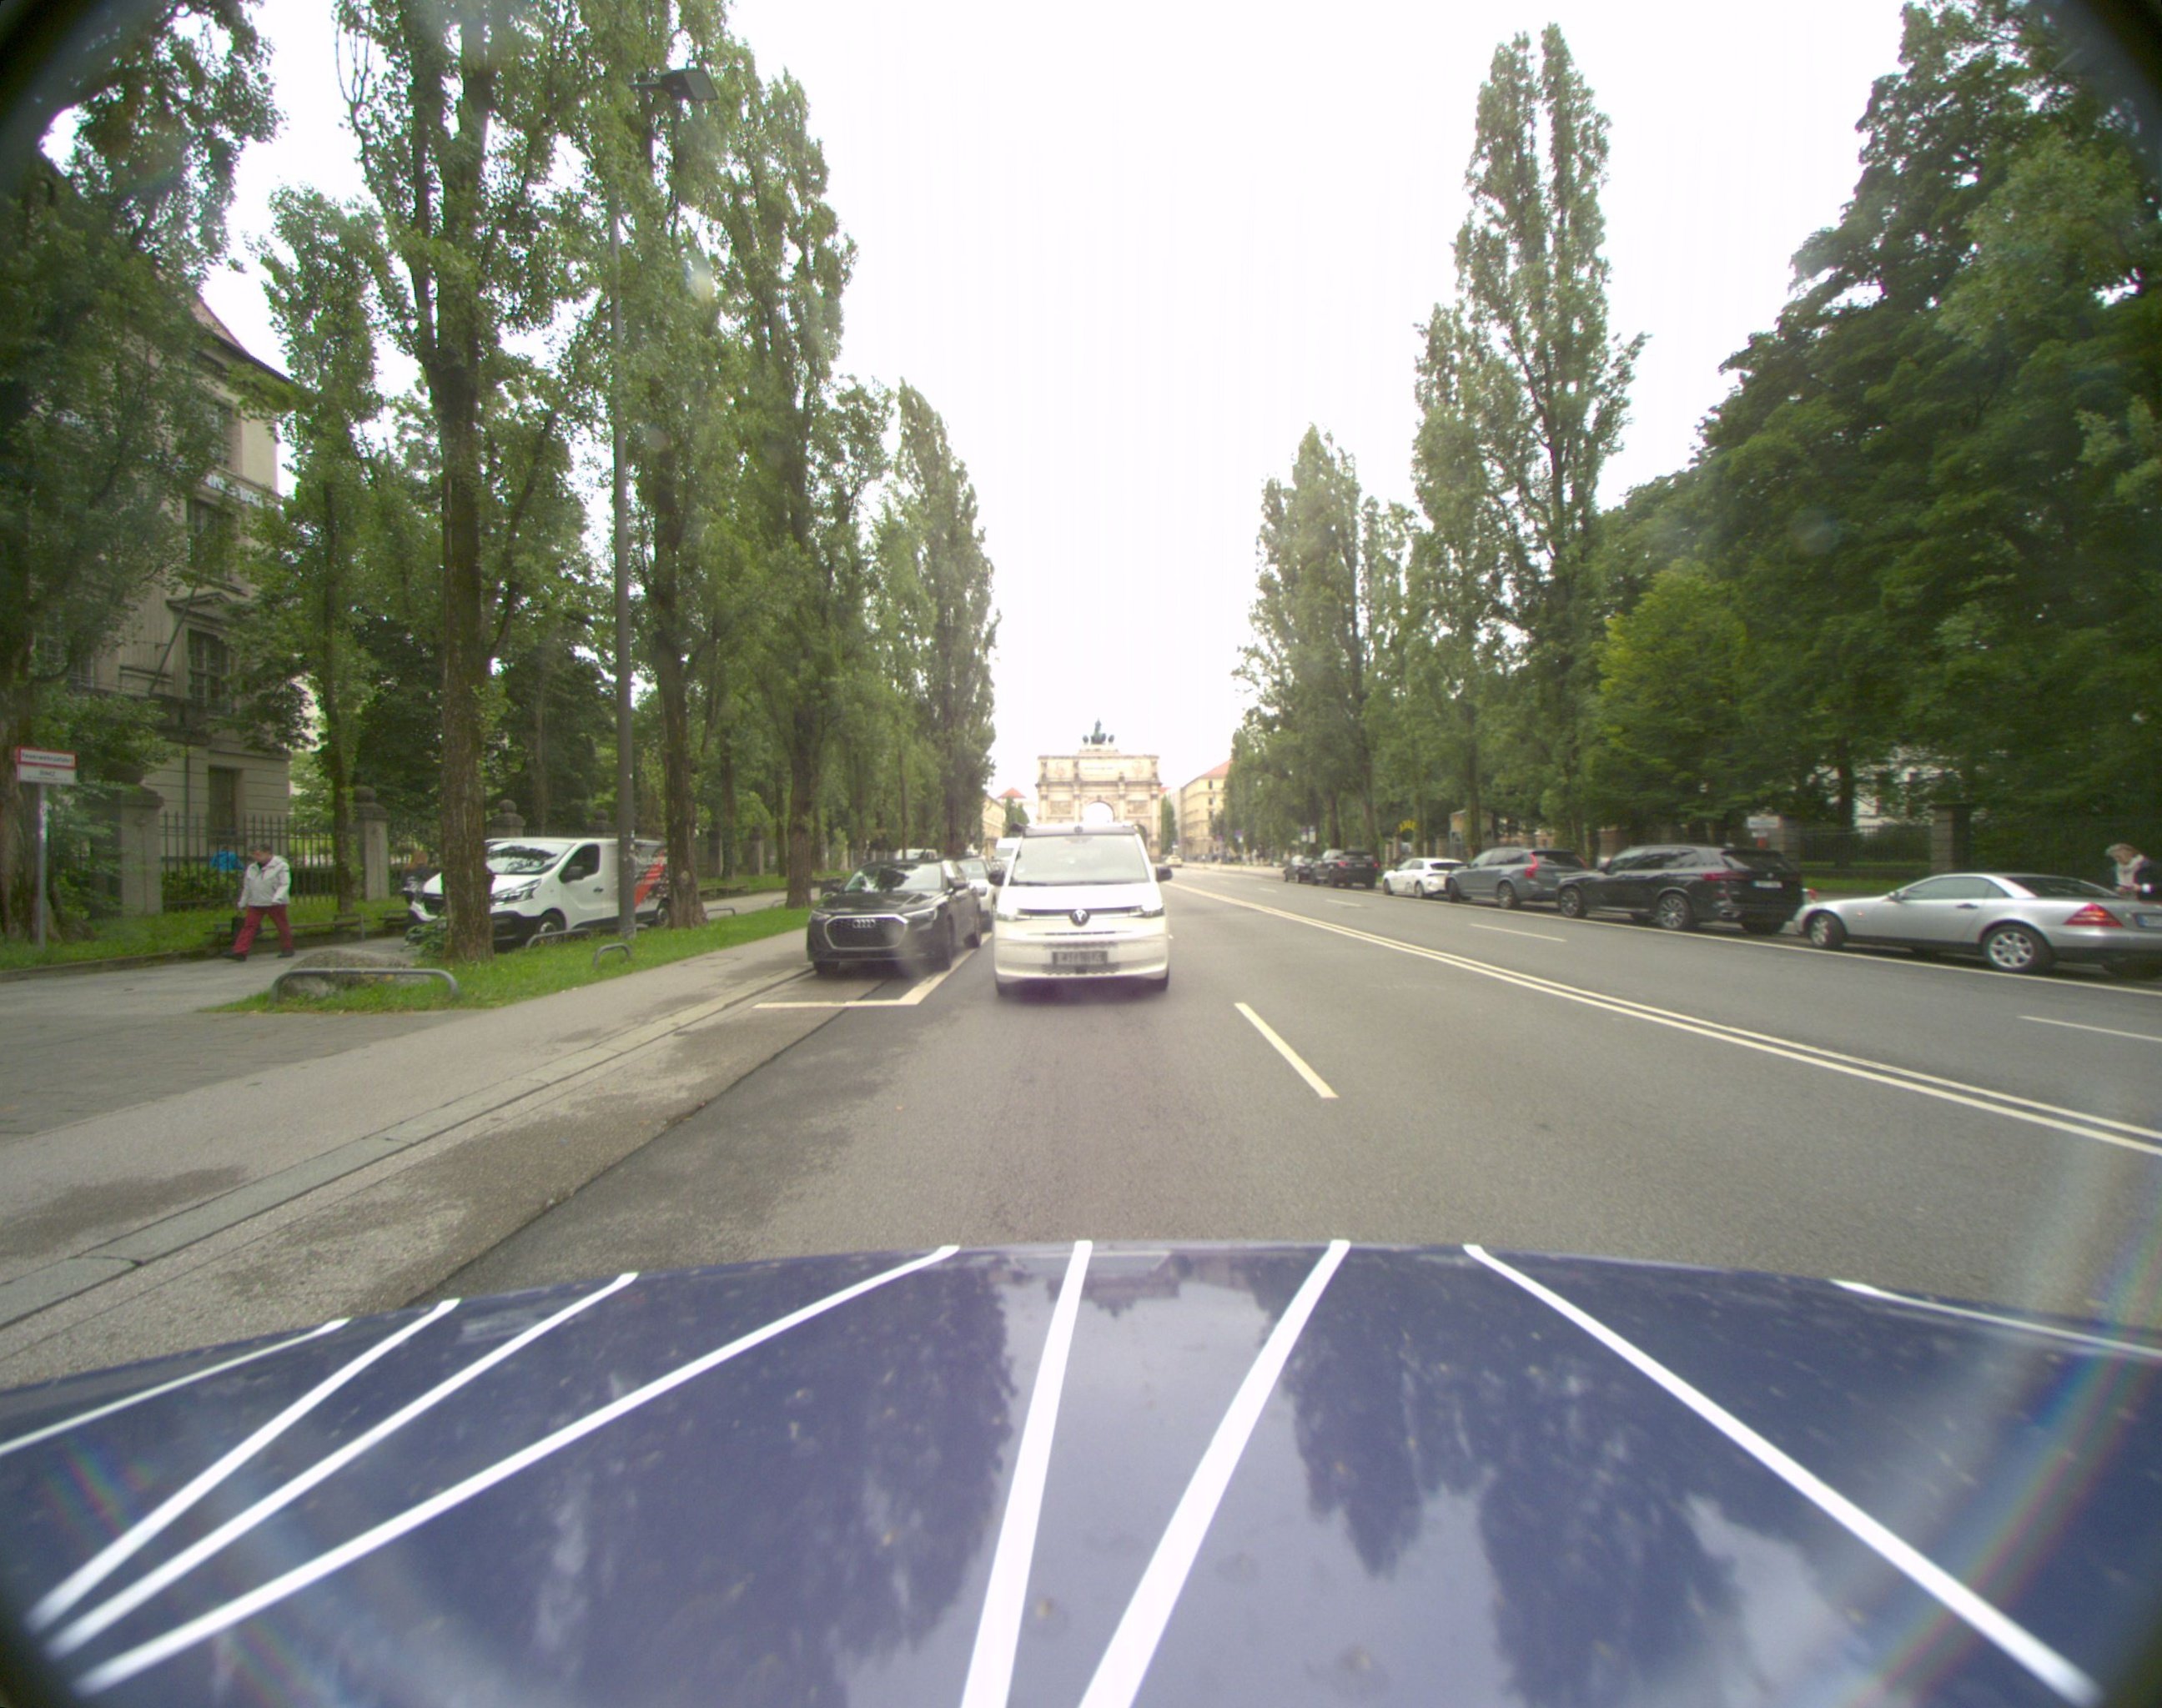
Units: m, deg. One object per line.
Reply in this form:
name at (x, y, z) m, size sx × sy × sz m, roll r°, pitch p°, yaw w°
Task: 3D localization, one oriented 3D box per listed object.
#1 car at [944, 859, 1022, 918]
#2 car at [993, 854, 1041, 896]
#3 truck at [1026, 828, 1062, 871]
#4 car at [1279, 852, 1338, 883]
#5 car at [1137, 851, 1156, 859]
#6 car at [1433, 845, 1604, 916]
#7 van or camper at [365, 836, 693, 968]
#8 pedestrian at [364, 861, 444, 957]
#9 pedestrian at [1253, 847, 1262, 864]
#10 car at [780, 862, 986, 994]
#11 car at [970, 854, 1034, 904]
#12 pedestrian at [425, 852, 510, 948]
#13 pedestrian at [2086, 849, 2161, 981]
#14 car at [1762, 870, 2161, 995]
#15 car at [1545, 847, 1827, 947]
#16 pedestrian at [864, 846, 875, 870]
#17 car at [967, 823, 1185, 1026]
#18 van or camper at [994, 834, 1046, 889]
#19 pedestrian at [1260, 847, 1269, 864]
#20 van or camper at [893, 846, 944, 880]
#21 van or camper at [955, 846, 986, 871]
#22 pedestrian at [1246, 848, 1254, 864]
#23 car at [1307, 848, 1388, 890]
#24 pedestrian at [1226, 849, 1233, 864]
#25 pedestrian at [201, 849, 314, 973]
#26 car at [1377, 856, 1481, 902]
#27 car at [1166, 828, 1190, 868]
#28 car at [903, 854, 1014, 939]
car at (-2.750, 0.913, 22.135) m, size 1.707 × 1.511 × 4.294 m, roll -1°, pitch 0°, yaw 0°
car at (-2.641, 0.814, 32.275) m, size 1.789 × 1.639 × 4.416 m, roll -1°, pitch 0°, yaw -2°
truck at (-3.216, -0.363, 68.815) m, size 2.852 × 3.543 × 10.277 m, roll -1°, pitch 0°, yaw -1°
car at (12.531, 0.720, 42.133) m, size 1.949 × 1.574 × 4.388 m, roll 1°, pitch 0°, yaw 0°
car at (14.108, 0.279, 163.988) m, size 2.004 × 1.739 × 3.989 m, roll -1°, pitch 0°, yaw -40°
car at (12.518, 0.688, 22.250) m, size 1.914 × 1.779 × 5.179 m, roll 2°, pitch 0°, yaw -1°
van or camper at (-9.673, 0.724, 14.109) m, size 2.081 × 1.922 × 5.368 m, roll -2°, pitch 0°, yaw 0°
pedestrian at (-11.625, 0.919, 13.066) m, size 0.569 × 1.569 × 0.867 m, roll 0°, pitch 1°, yaw 0°
pedestrian at (18.787, 0.124, 80.789) m, size 0.711 × 1.823 × 1.092 m, roll 0°, pitch 1°, yaw -1°
car at (-2.687, 0.926, 11.468) m, size 1.885 × 1.531 × 4.464 m, roll -1°, pitch 0°, yaw 0°
car at (-2.727, 0.823, 27.031) m, size 1.788 × 1.608 × 4.637 m, roll -1°, pitch 0°, yaw 0°
pedestrian at (-11.229, 0.819, 13.942) m, size 0.855 × 1.707 × 0.867 m, roll 1°, pitch 1°, yaw -1°
pedestrian at (13.950, 0.768, 9.882) m, size 0.740 × 1.654 × 0.751 m, roll 0°, pitch 1°, yaw 1°
car at (12.602, 0.966, 10.875) m, size 1.831 × 1.326 × 4.233 m, roll 2°, pitch 0°, yaw -1°
car at (12.401, 0.769, 16.144) m, size 1.946 × 1.757 × 4.894 m, roll 2°, pitch 0°, yaw -2°
pedestrian at (-18.100, 0.338, 64.907) m, size 0.905 × 2.002 × 0.956 m, roll 0°, pitch 1°, yaw -16°
car at (-0.020, 0.675, 10.227) m, size 2.064 × 1.916 × 5.728 m, roll -1°, pitch 0°, yaw 0°
van or camper at (-3.015, 0.342, 39.097) m, size 2.144 × 2.525 × 6.416 m, roll -1°, pitch 0°, yaw 0°
pedestrian at (19.525, 0.143, 80.817) m, size 0.711 × 1.762 × 1.092 m, roll 0°, pitch 1°, yaw -1°
van or camper at (-9.745, 0.510, 45.999) m, size 1.980 × 1.922 × 5.037 m, roll -2°, pitch 0°, yaw -1°
van or camper at (-9.467, 0.385, 65.491) m, size 2.009 × 2.002 × 4.985 m, roll -2°, pitch 0°, yaw -2°
pedestrian at (18.506, 0.200, 83.159) m, size 0.689 × 1.690 × 0.885 m, roll -1°, pitch 0°, yaw -1°
car at (12.428, 0.655, 35.802) m, size 2.051 × 1.776 × 4.799 m, roll 1°, pitch 0°, yaw 0°
pedestrian at (17.881, 0.322, 91.448) m, size 0.533 × 1.720 × 0.583 m, roll -1°, pitch 1°, yaw -11°
pedestrian at (-12.276, 0.822, 11.358) m, size 0.723 × 1.760 × 0.867 m, roll 2°, pitch 1°, yaw 1°
car at (12.393, 0.848, 27.368) m, size 1.708 × 1.450 × 4.272 m, roll 1°, pitch 0°, yaw -1°
car at (11.897, -0.700, 93.275) m, size 1.799 × 4.454 × 1.331 m, roll 22°, pitch -32°, yaw -8°
car at (-2.609, 0.837, 17.203) m, size 1.747 × 1.665 × 4.579 m, roll -1°, pitch 0°, yaw 0°
